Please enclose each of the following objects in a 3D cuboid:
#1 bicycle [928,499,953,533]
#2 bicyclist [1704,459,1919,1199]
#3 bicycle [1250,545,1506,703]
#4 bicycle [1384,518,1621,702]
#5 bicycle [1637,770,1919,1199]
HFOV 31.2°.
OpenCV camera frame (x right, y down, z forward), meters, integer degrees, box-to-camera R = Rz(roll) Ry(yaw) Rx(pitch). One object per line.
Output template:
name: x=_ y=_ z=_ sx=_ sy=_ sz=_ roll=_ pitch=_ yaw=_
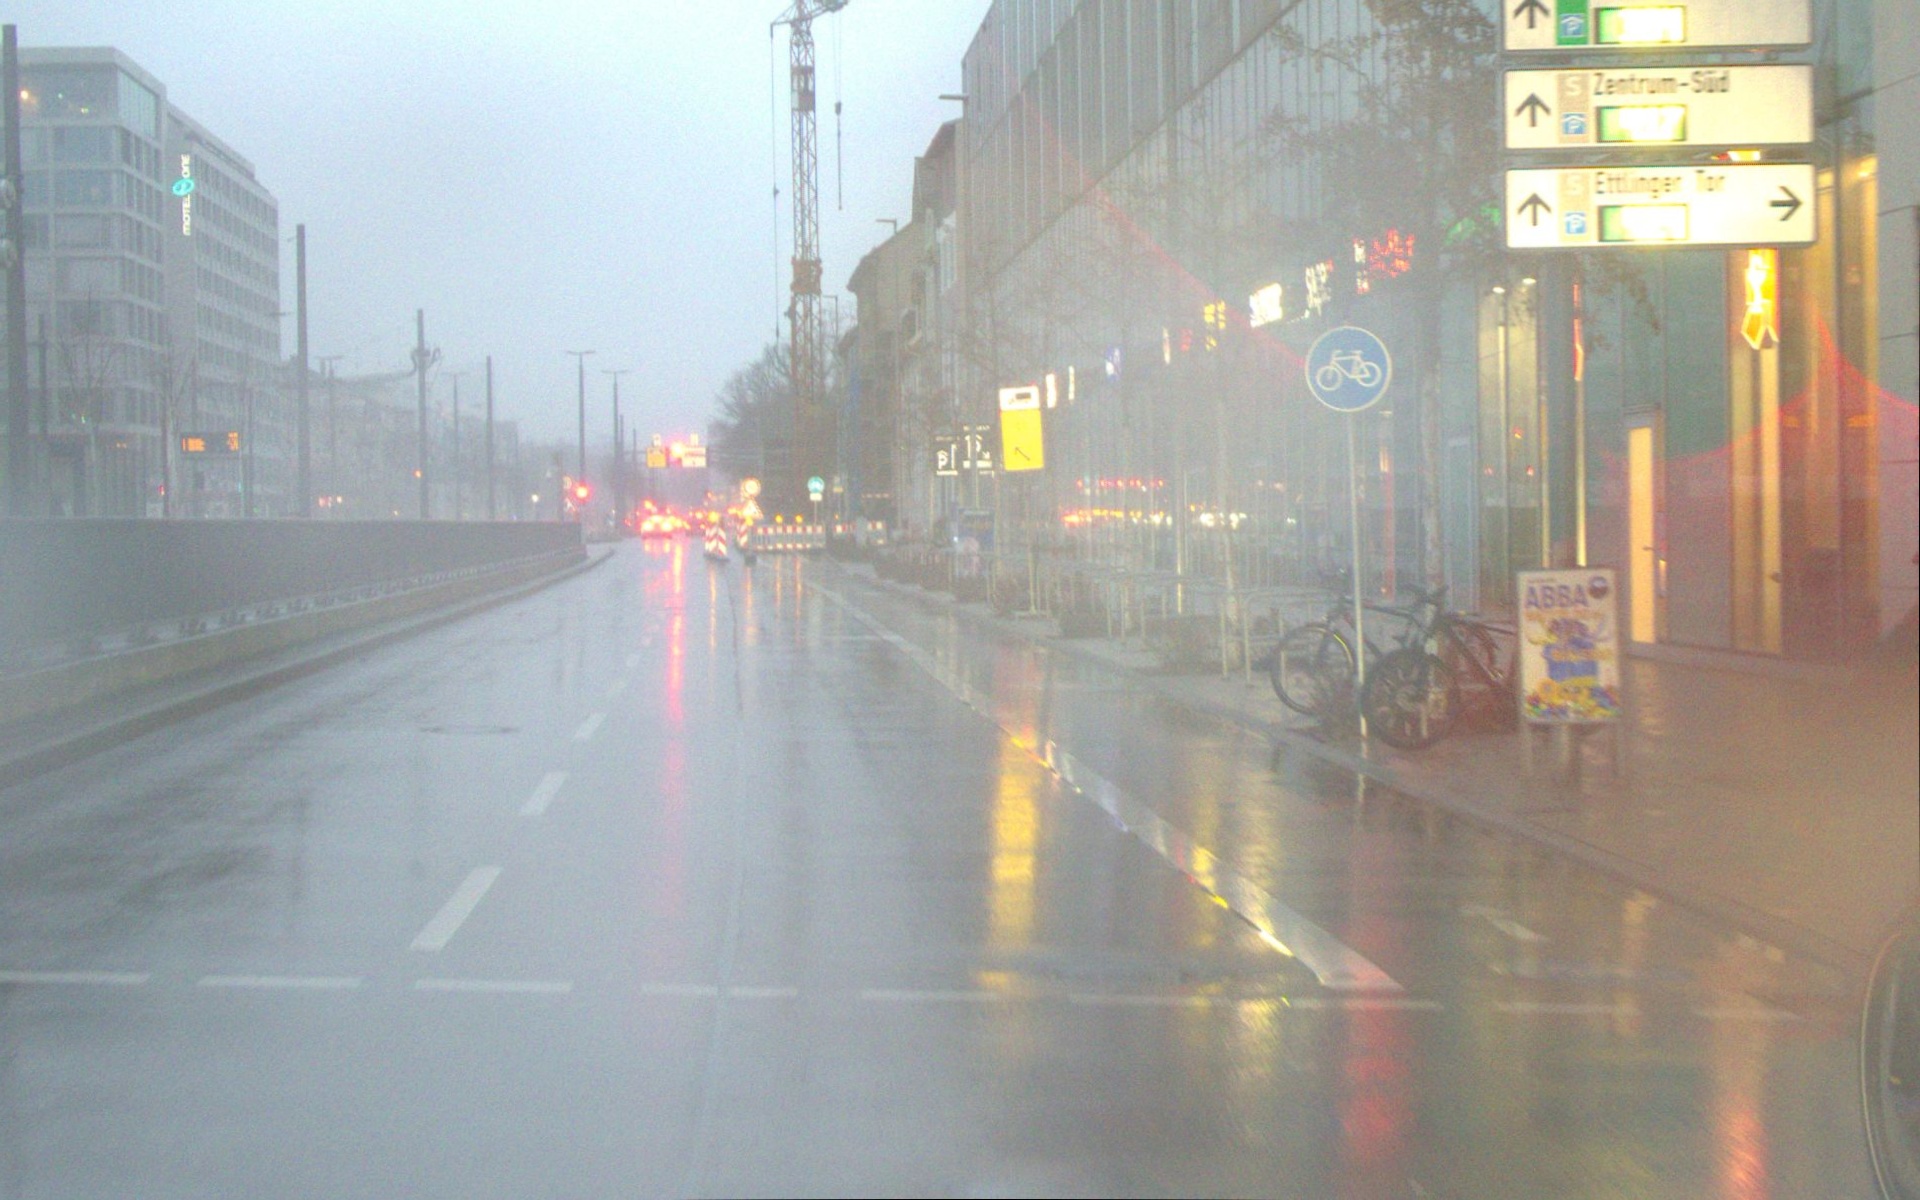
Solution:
bicycle: x=-0.728 y=-3.104 z=127.502 sx=0.682 sy=1.218 sz=1.906 roll=-3 pitch=2 yaw=-5
bicyclist: x=1.998 y=0.472 z=6.525 sx=0.943 sy=1.458 sz=1.066 roll=0 pitch=1 yaw=1
bicycle: x=3.325 y=0.184 z=27.425 sx=1.903 sy=1.171 sz=0.667 roll=-2 pitch=2 yaw=-4
bicycle: x=3.863 y=0.052 z=24.549 sx=1.558 sy=1.257 sz=0.665 roll=2 pitch=2 yaw=44
bicycle: x=2.003 y=0.906 z=6.745 sx=0.943 sy=0.996 sz=2.240 roll=0 pitch=1 yaw=1
